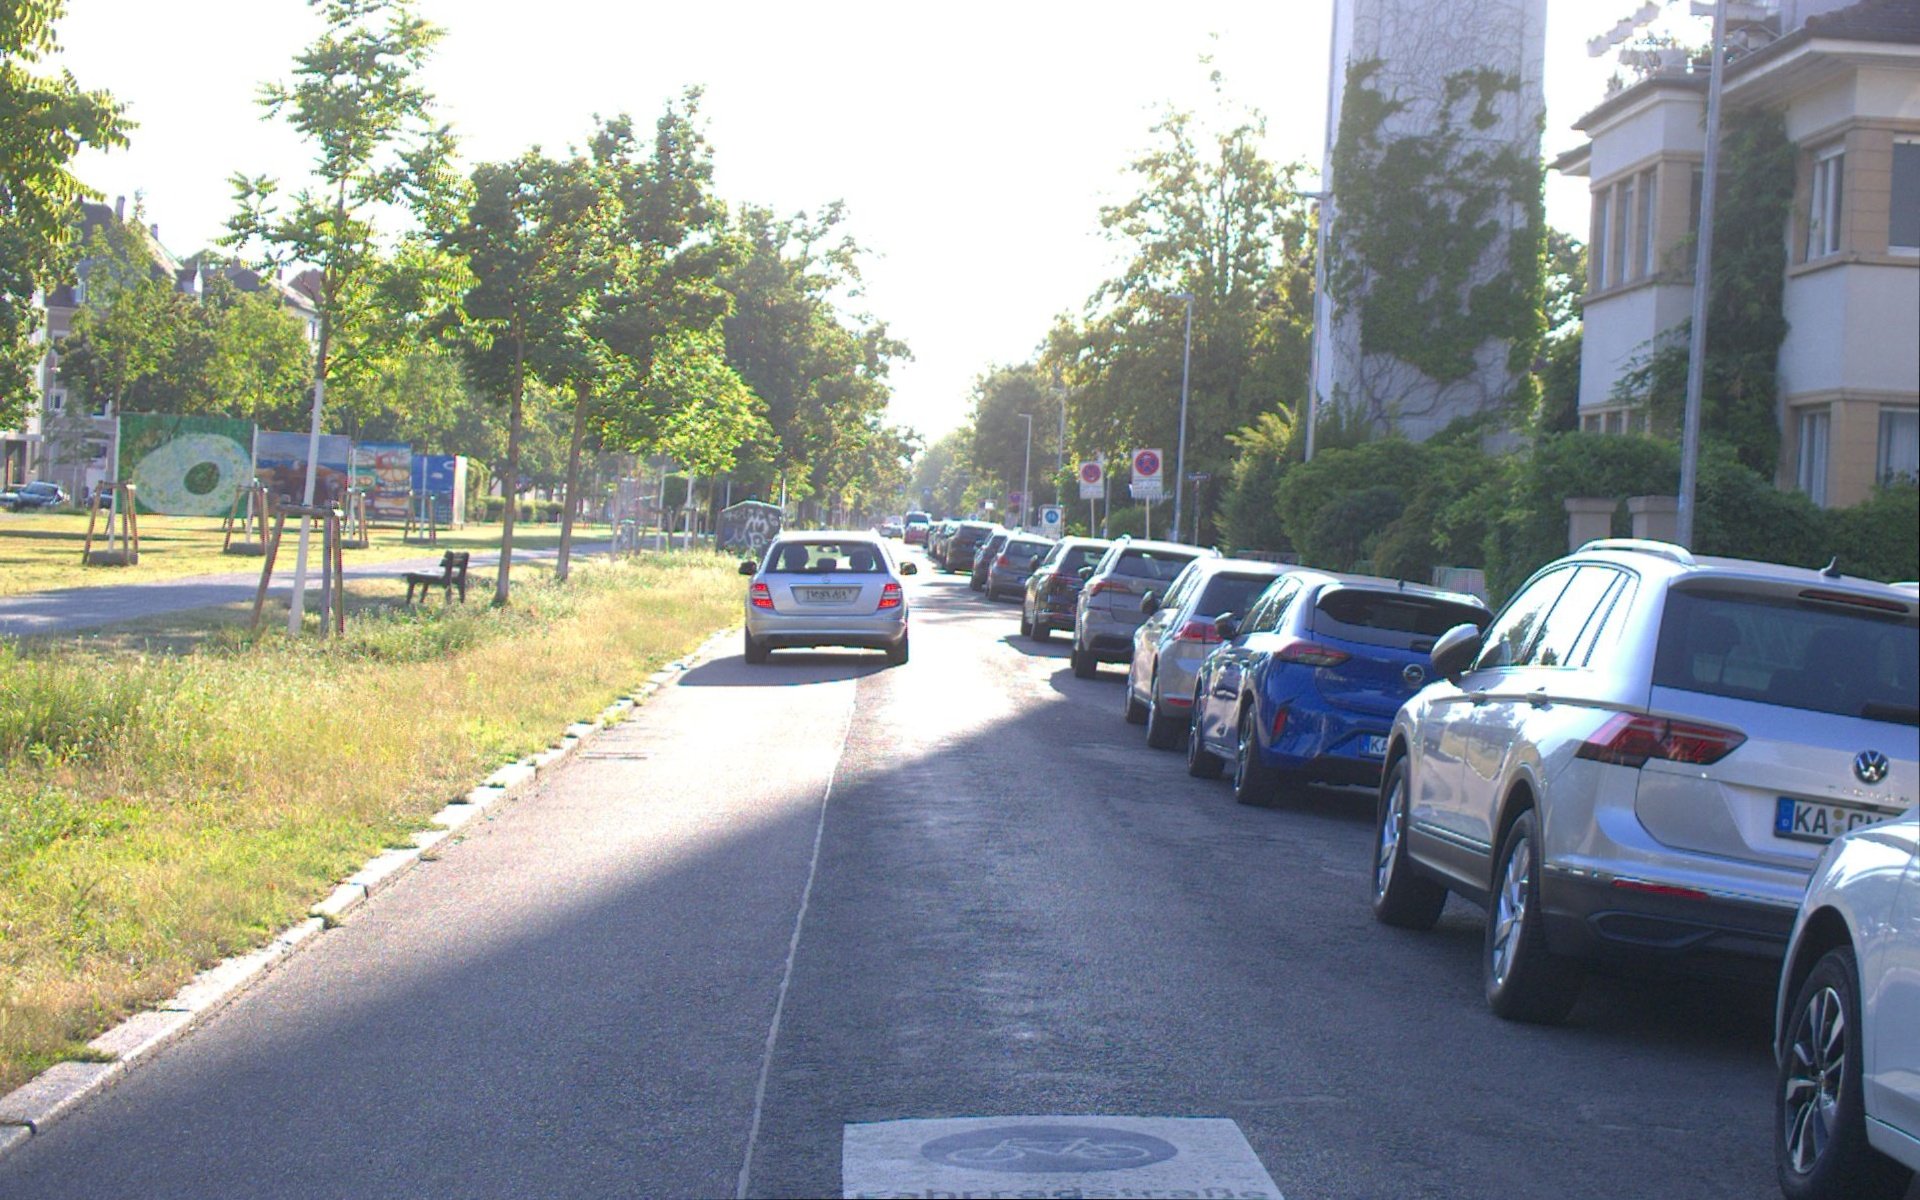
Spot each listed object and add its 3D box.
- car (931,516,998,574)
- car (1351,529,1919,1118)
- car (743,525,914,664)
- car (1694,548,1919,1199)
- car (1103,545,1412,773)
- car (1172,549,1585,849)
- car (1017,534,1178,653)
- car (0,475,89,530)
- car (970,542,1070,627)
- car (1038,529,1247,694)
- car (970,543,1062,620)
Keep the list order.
[{"bbox_3d":[0.133,-1.737,108.253,1.980,1.677,4.000,3,1,0],"label":"car"},{"bbox_3d":[2.655,0.676,12.574,1.685,1.645,4.100,8,1,-1],"label":"car"},{"bbox_3d":[-1.447,-0.104,37.824,1.760,1.415,4.001,1,1,-2],"label":"car"},{"bbox_3d":[2.880,0.774,6.618,1.758,1.599,4.359,3,1,-2],"label":"car"},{"bbox_3d":[2.242,0.400,26.916,1.761,1.415,4.001,7,1,-2],"label":"car"},{"bbox_3d":[2.502,0.536,21.535,1.761,1.415,4.001,9,1,-2],"label":"car"},{"bbox_3d":[1.865,-0.126,47.785,1.993,1.459,4.000,3,1,0],"label":"car"},{"bbox_3d":[-38.010,-3.958,140.624,3.160,2.140,6.110,1,1,0],"label":"car"},{"bbox_3d":[1.257,-0.352,73.522,1.993,1.624,4.000,3,1,0],"label":"car"},{"bbox_3d":[1.902,0.080,36.959,1.761,1.516,4.001,5,1,-2],"label":"car"},{"bbox_3d":[1.278,-0.459,79.968,1.993,1.624,4.000,3,1,0],"label":"car"}]
